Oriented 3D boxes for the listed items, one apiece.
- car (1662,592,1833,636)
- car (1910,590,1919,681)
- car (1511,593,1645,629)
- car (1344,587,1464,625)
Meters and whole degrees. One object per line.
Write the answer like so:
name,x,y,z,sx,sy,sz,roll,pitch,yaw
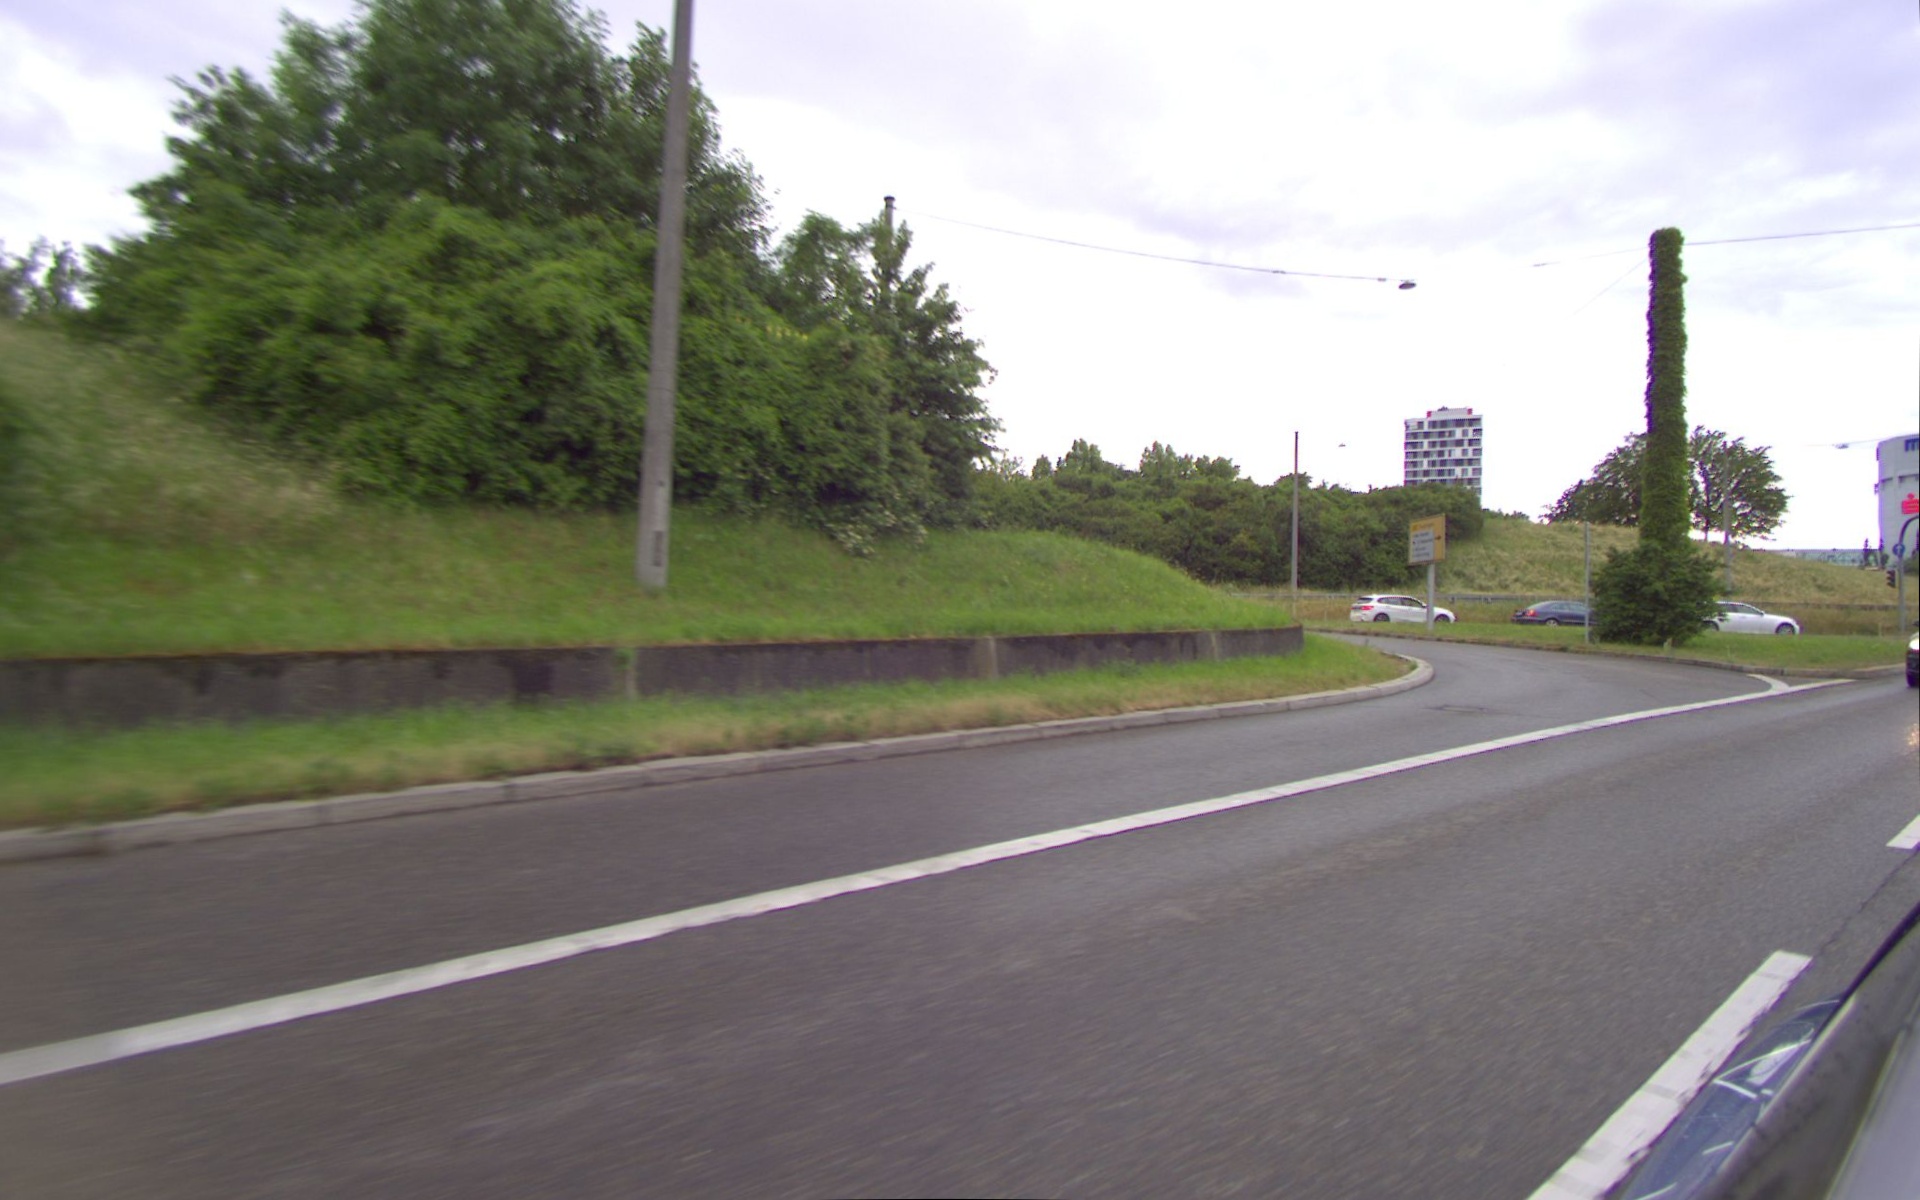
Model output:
car,30.720,0.539,39.605,4.900,1.666,2.073,0,-1,4
car,19.316,0.635,18.666,4.200,1.621,1.928,0,0,-37
car,26.226,0.459,43.099,4.474,1.368,1.840,2,-1,6
car,18.917,0.280,43.245,4.187,1.447,2.076,2,-1,-4
